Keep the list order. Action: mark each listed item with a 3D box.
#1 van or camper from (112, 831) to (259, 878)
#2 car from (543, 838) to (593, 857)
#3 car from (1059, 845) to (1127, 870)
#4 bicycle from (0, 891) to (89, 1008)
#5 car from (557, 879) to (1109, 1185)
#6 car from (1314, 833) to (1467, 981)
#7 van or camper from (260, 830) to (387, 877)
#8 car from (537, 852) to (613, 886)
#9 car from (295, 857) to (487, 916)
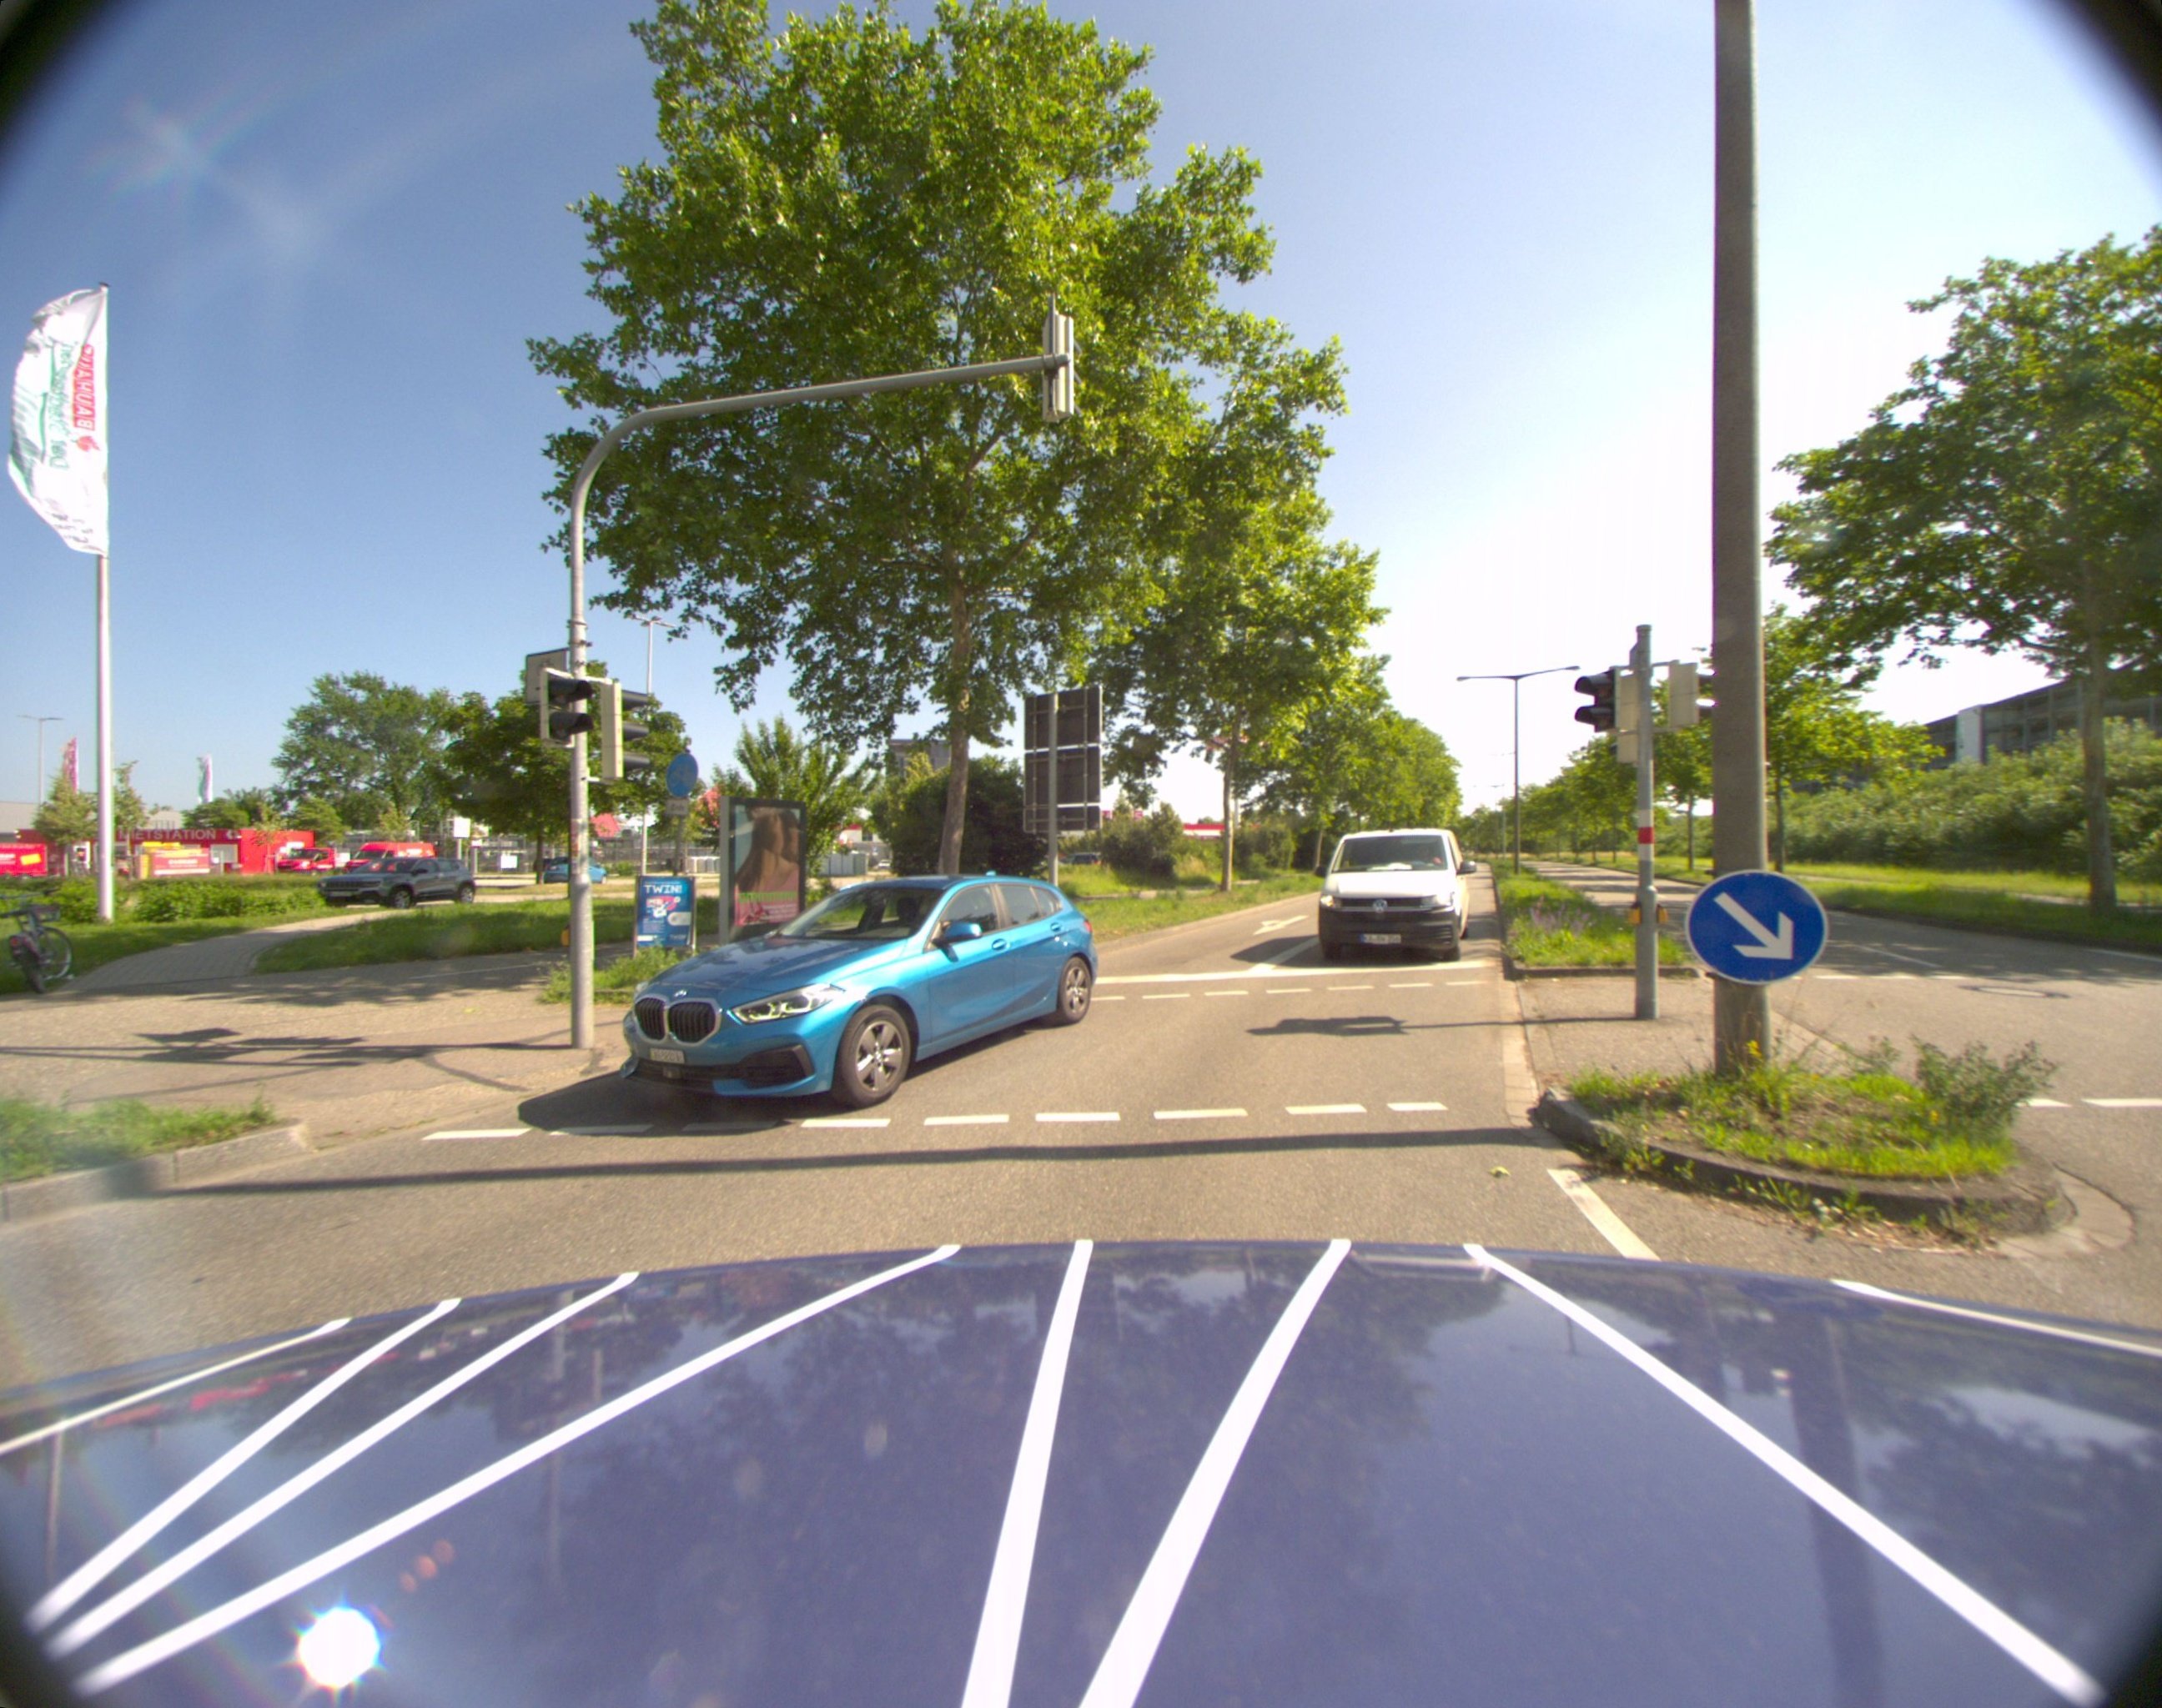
[{"bbox_3d":[-61.195,0.086,52.211,2.000,2.924,7.283,-3,0,-7],"label":"van or camper"},{"bbox_3d":[-44.988,-0.544,66.763,1.788,1.521,4.390,-3,0,-6],"label":"car"},{"bbox_3d":[0.780,0.246,50.327,3.990,1.473,2.004,-3,0,32],"label":"car"},{"bbox_3d":[-11.975,1.044,8.624,0.497,1.133,1.903,-3,2,-42],"label":"bicycle"},{"bbox_3d":[-1.501,0.997,6.190,1.869,1.412,4.138,-1,0,27],"label":"car"},{"bbox_3d":[5.182,0.665,12.294,1.869,1.889,4.890,-1,0,27],"label":"car"},{"bbox_3d":[-51.657,0.027,52.111,2.000,2.924,7.283,-3,0,-7],"label":"van or camper"},{"bbox_3d":[-24.894,0.735,37.488,1.543,1.523,3.486,-3,0,-4],"label":"car"},{"bbox_3d":[-19.219,0.849,21.465,1.905,1.411,3.999,-3,0,-4],"label":"car"}]
